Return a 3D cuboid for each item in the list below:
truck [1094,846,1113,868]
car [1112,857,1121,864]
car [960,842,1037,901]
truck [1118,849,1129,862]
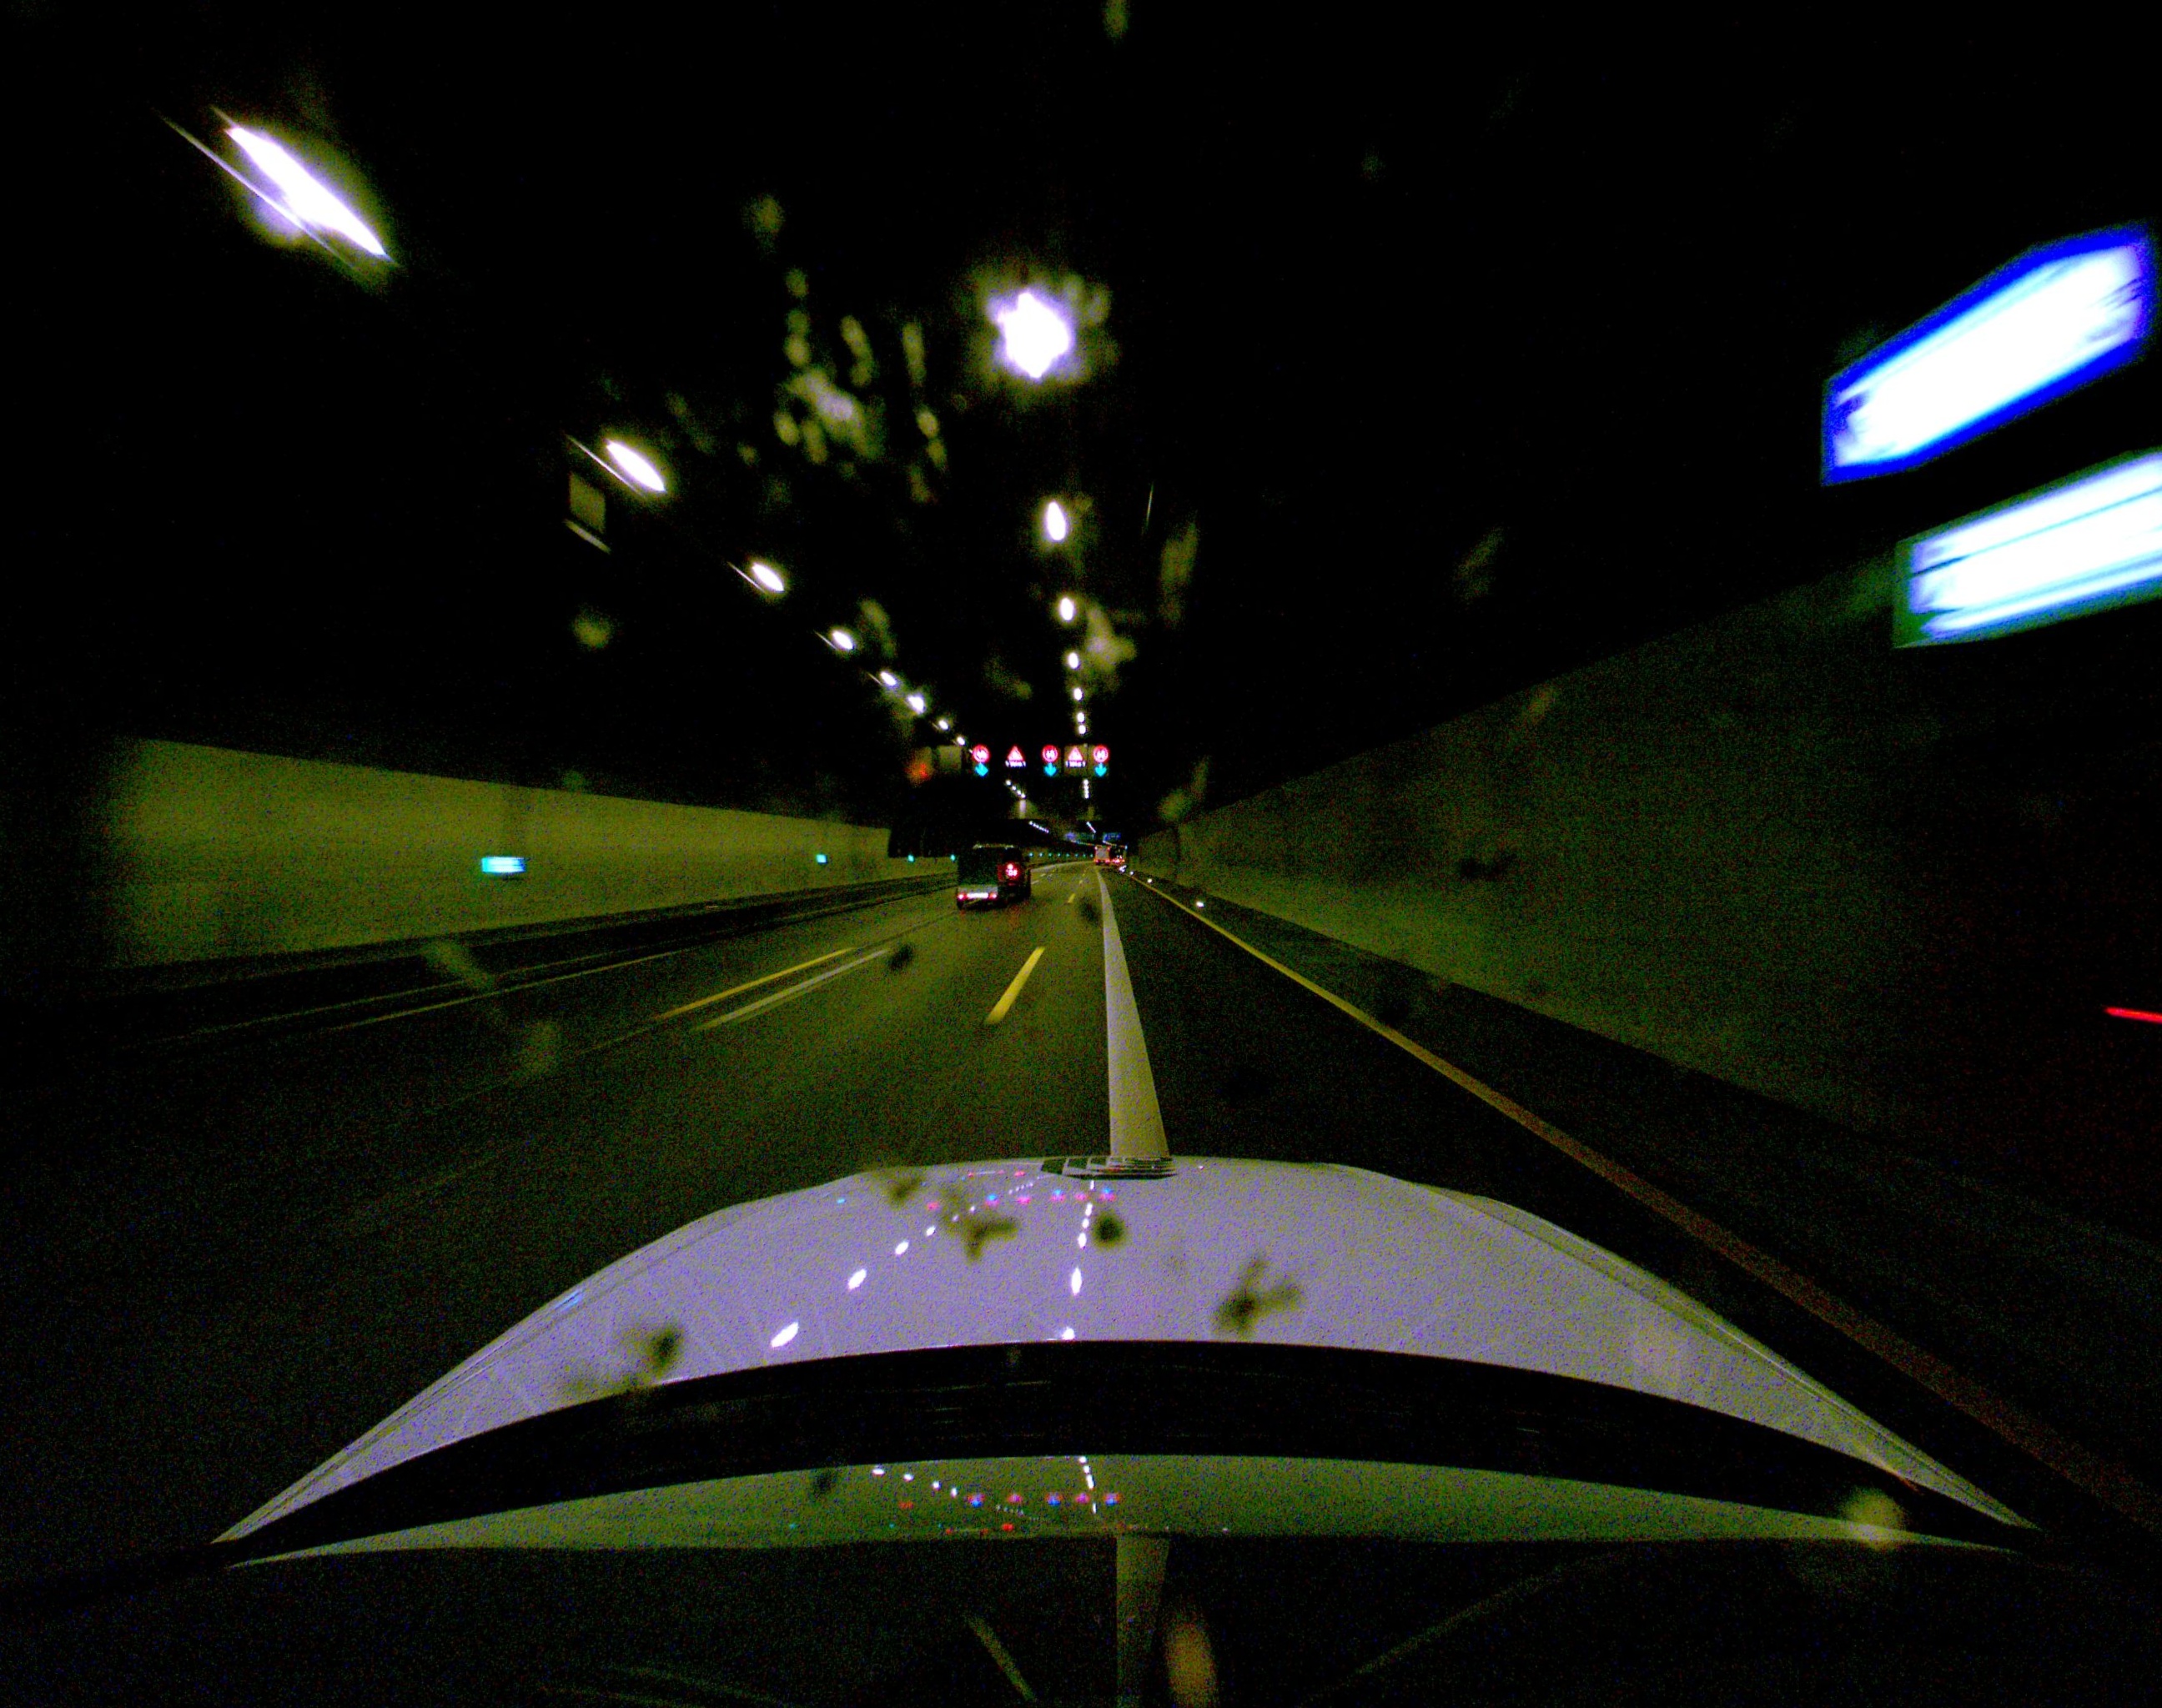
[{"bbox_3d":[4.462,0.558,162.208,3.462,4.316,10.952,1,0,0],"label":"truck"},{"bbox_3d":[9.668,1.698,222.642,1.983,1.895,5.541,1,0,6],"label":"car"},{"bbox_3d":[-2.821,0.565,28.958,1.986,1.895,5.455,1,0,2],"label":"car"},{"bbox_3d":[13.586,0.489,261.186,3.462,4.316,10.954,0,0,1],"label":"truck"}]
